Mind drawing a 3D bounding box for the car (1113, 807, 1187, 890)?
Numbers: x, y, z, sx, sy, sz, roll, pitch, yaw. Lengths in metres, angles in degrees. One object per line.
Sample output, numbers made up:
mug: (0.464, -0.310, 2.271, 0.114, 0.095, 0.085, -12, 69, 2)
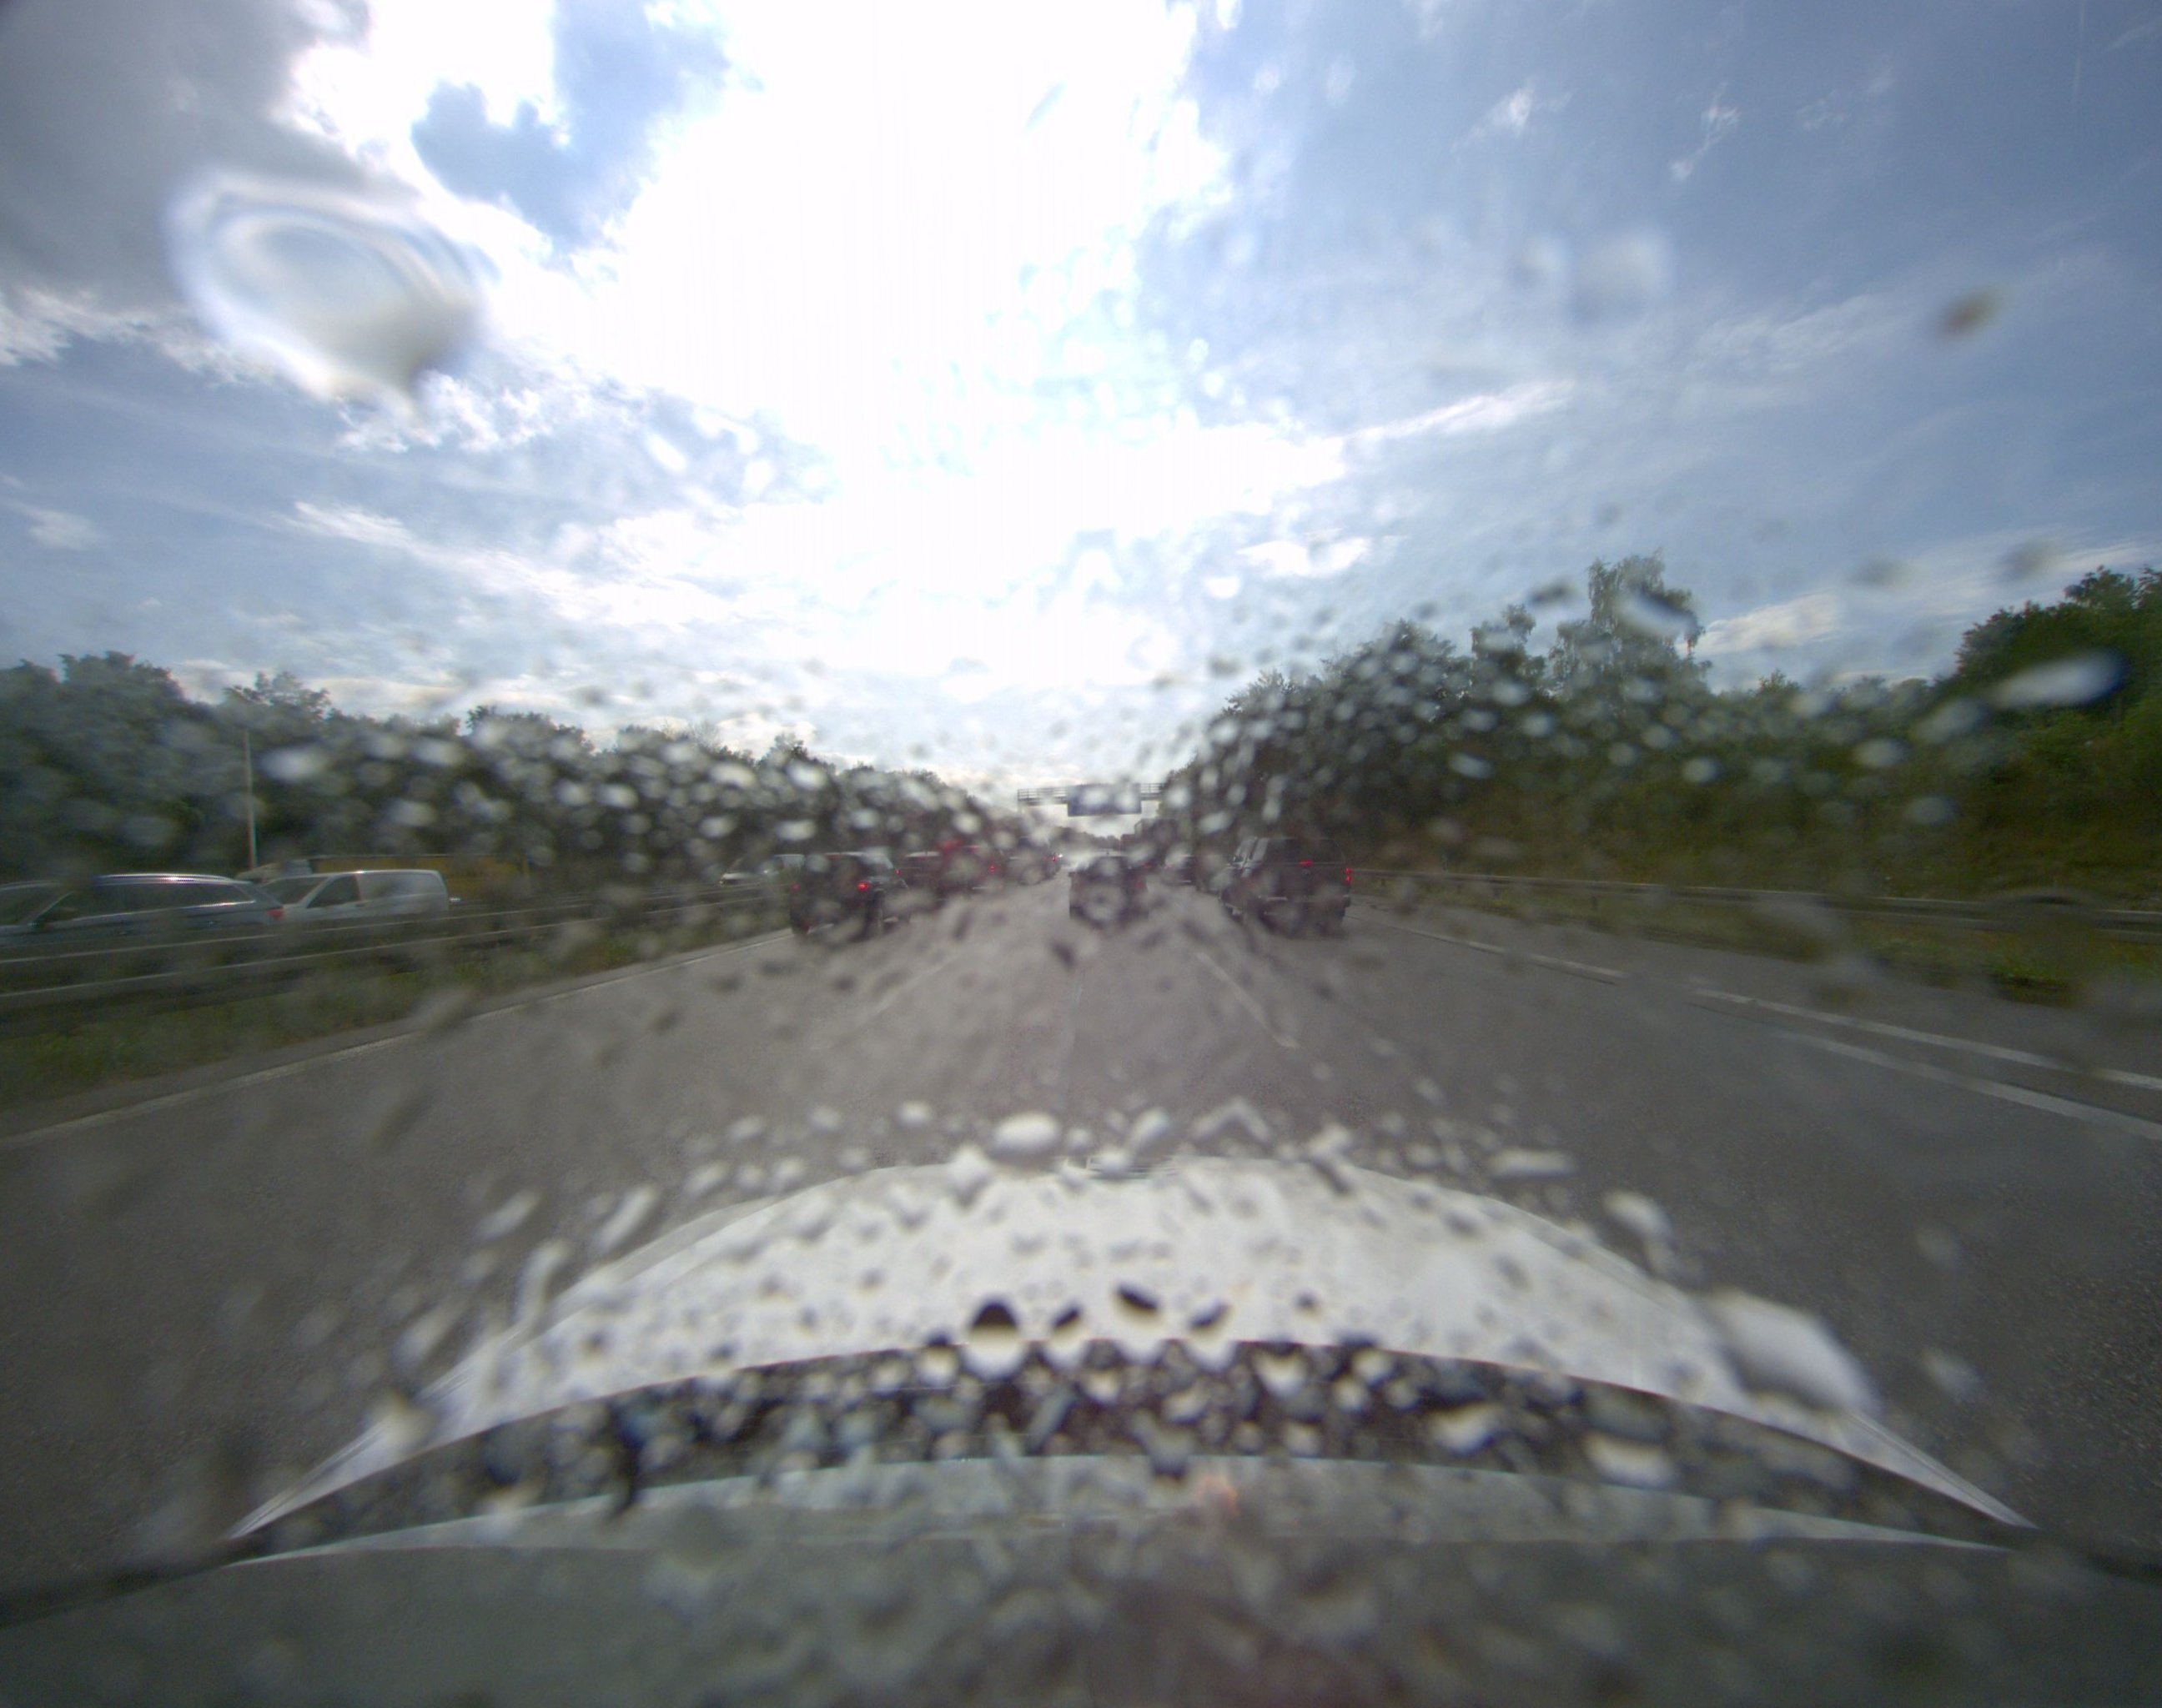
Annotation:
car: (5.236, -0.323, 66.265, 4.391, 5.830, 16.810, -1, 0, -1)

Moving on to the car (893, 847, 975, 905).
car: (-4.677, 0.682, 26.606, 1.904, 1.636, 4.613, -3, 0, -2)

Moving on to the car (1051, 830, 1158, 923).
car: (0.509, 0.497, 19.823, 2.267, 1.954, 4.820, -1, -1, 0)

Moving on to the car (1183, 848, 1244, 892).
car: (4.910, 0.589, 30.585, 1.586, 1.516, 3.974, -1, 0, -1)

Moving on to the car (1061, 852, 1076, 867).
car: (-1.752, 0.741, 116.006, 1.986, 2.115, 4.890, -1, -1, 2)

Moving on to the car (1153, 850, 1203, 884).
car: (4.603, 0.603, 39.220, 1.859, 1.516, 3.974, -1, 0, -1)

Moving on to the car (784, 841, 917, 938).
car: (-4.770, 0.684, 17.425, 1.687, 1.805, 3.976, -1, -1, 0)

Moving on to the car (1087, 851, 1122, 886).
car: (1.235, 0.782, 44.153, 1.687, 1.805, 3.974, -1, -1, -1)

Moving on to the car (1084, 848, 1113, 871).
car: (1.174, 0.378, 56.453, 1.859, 1.516, 3.974, -1, 0, -1)

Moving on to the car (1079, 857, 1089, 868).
car: (0.592, 1.752, 166.292, 1.986, 2.115, 4.890, -1, -1, 2)

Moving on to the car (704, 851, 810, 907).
car: (-12.740, 0.931, 32.422, 2.044, 2.046, 5.209, -1, -1, 1)

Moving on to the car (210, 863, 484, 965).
car: (-16.799, 1.258, 19.075, 2.166, 2.046, 4.652, -1, -1, 1)

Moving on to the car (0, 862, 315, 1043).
car: (-13.306, 1.146, 10.622, 2.166, 2.046, 4.652, -1, -1, 1)

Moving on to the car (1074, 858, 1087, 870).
car: (-0.041, 1.691, 140.446, 1.986, 2.115, 4.890, -1, -1, 2)

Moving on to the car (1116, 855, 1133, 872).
car: (5.393, 1.156, 101.762, 1.986, 2.115, 4.890, -1, -1, 2)

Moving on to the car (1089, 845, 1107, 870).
car: (2.002, 0.411, 94.925, 1.986, 2.746, 5.261, -1, -1, 2)

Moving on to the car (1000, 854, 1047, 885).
car: (-2.997, 0.803, 43.268, 1.986, 1.564, 4.758, -1, 0, 2)

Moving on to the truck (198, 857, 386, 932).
truck: (-46.735, 2.247, 48.609, 3.760, 4.117, 7.073, -1, -1, 14)

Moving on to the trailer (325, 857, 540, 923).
trailer: (-44.568, 2.284, 56.793, 3.760, 4.117, 11.771, -1, -1, 15)

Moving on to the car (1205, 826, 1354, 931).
car: (4.090, 0.471, 17.832, 1.935, 1.919, 5.652, -1, 0, 1)

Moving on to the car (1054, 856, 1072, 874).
car: (-2.225, 1.383, 102.564, 1.986, 2.115, 4.890, -1, -1, 2)

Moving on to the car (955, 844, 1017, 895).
car: (-4.051, 0.638, 35.520, 1.971, 2.054, 4.758, -1, -1, 2)

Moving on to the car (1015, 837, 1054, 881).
car: (-2.900, 0.310, 51.916, 1.986, 2.615, 5.261, -1, -1, 2)

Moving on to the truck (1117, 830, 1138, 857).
truck: (6.467, -1.423, 114.796, 2.765, 3.631, 5.919, -1, -1, 2)
